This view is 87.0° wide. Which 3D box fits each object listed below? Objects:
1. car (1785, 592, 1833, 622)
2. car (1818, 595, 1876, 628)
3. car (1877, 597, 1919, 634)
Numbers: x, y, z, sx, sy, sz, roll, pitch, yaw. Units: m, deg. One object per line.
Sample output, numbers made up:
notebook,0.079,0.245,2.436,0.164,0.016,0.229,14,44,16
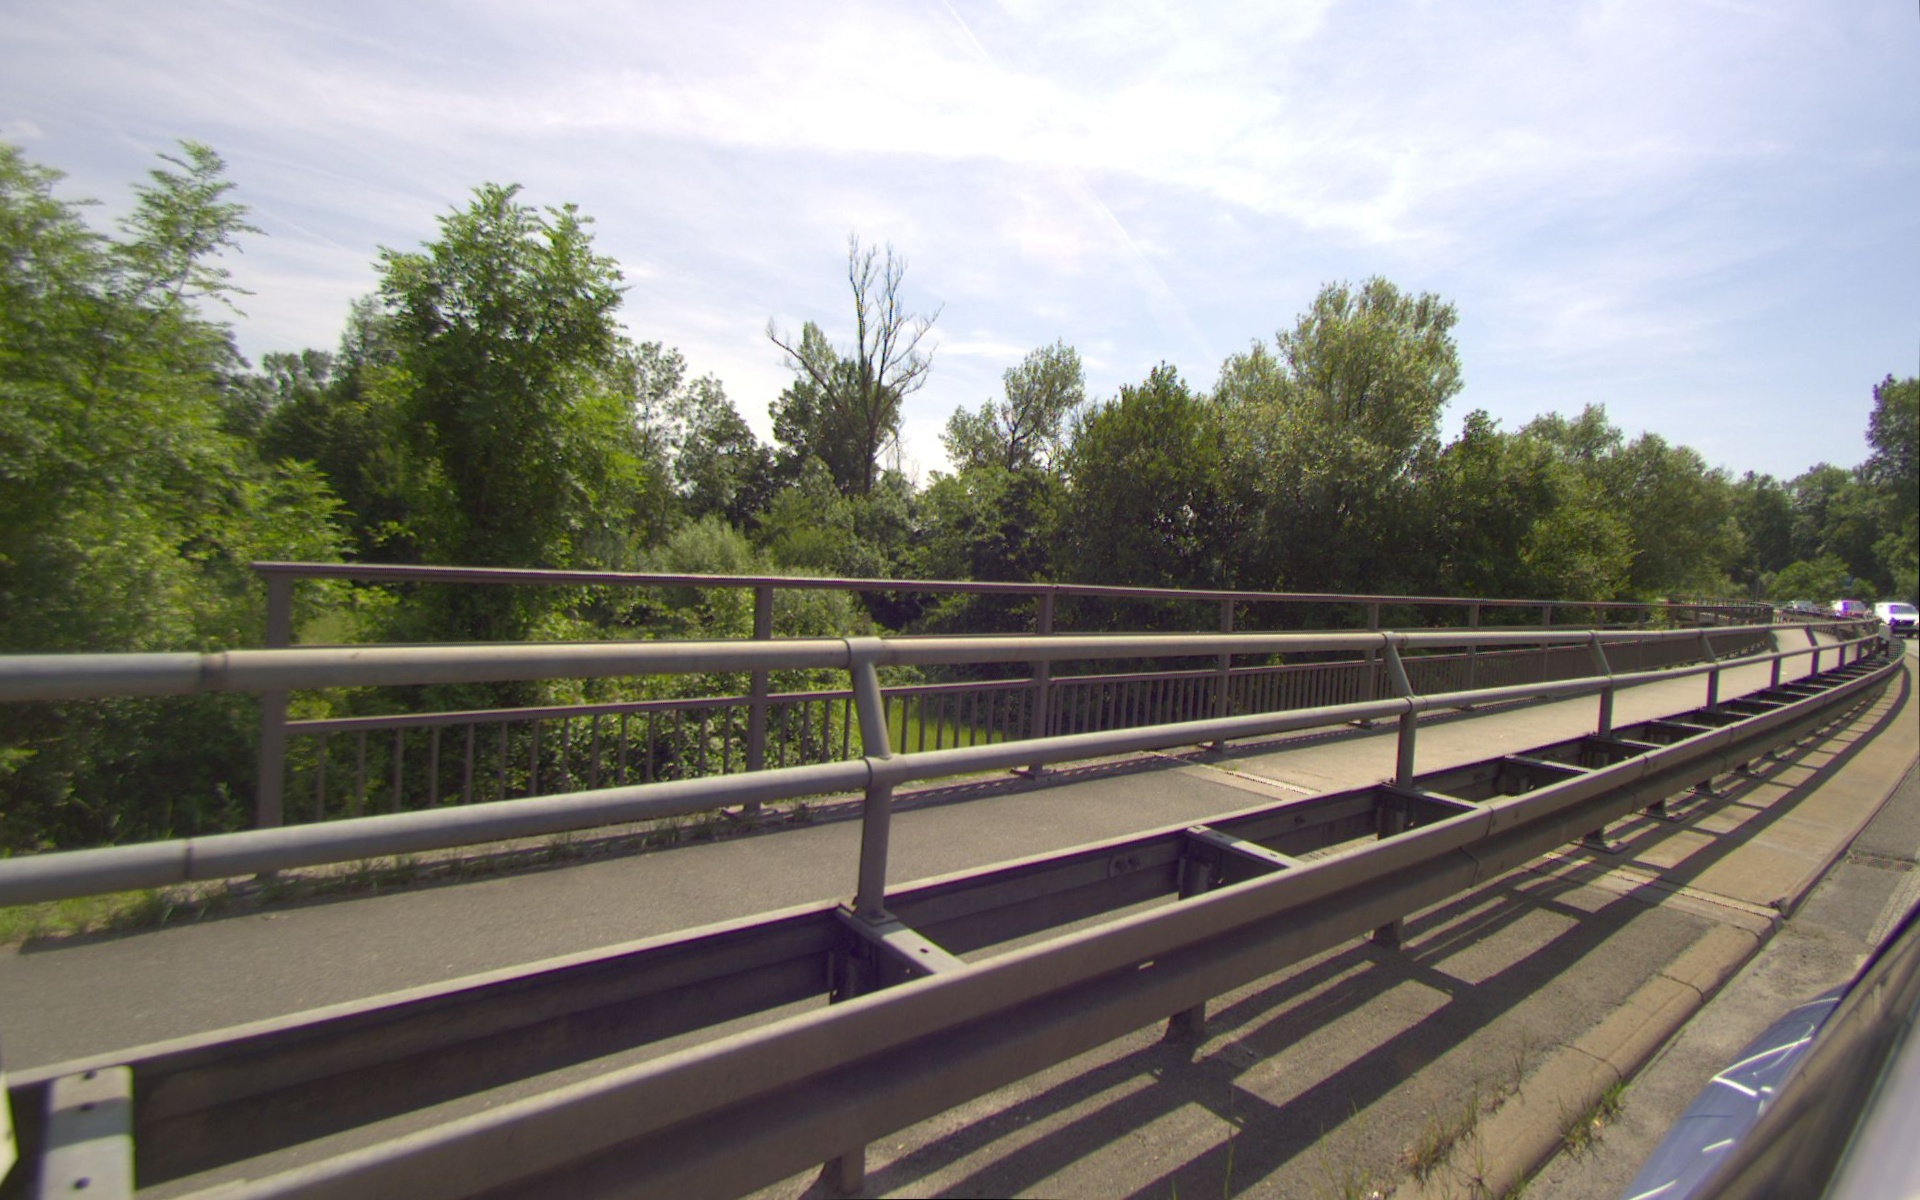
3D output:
car,60.696,0.481,72.420,1.984,2.039,3.957,0,0,31
car,52.257,0.712,59.674,1.986,1.798,3.952,1,-1,33
car,45.088,0.714,48.033,1.899,1.668,3.899,0,0,36
